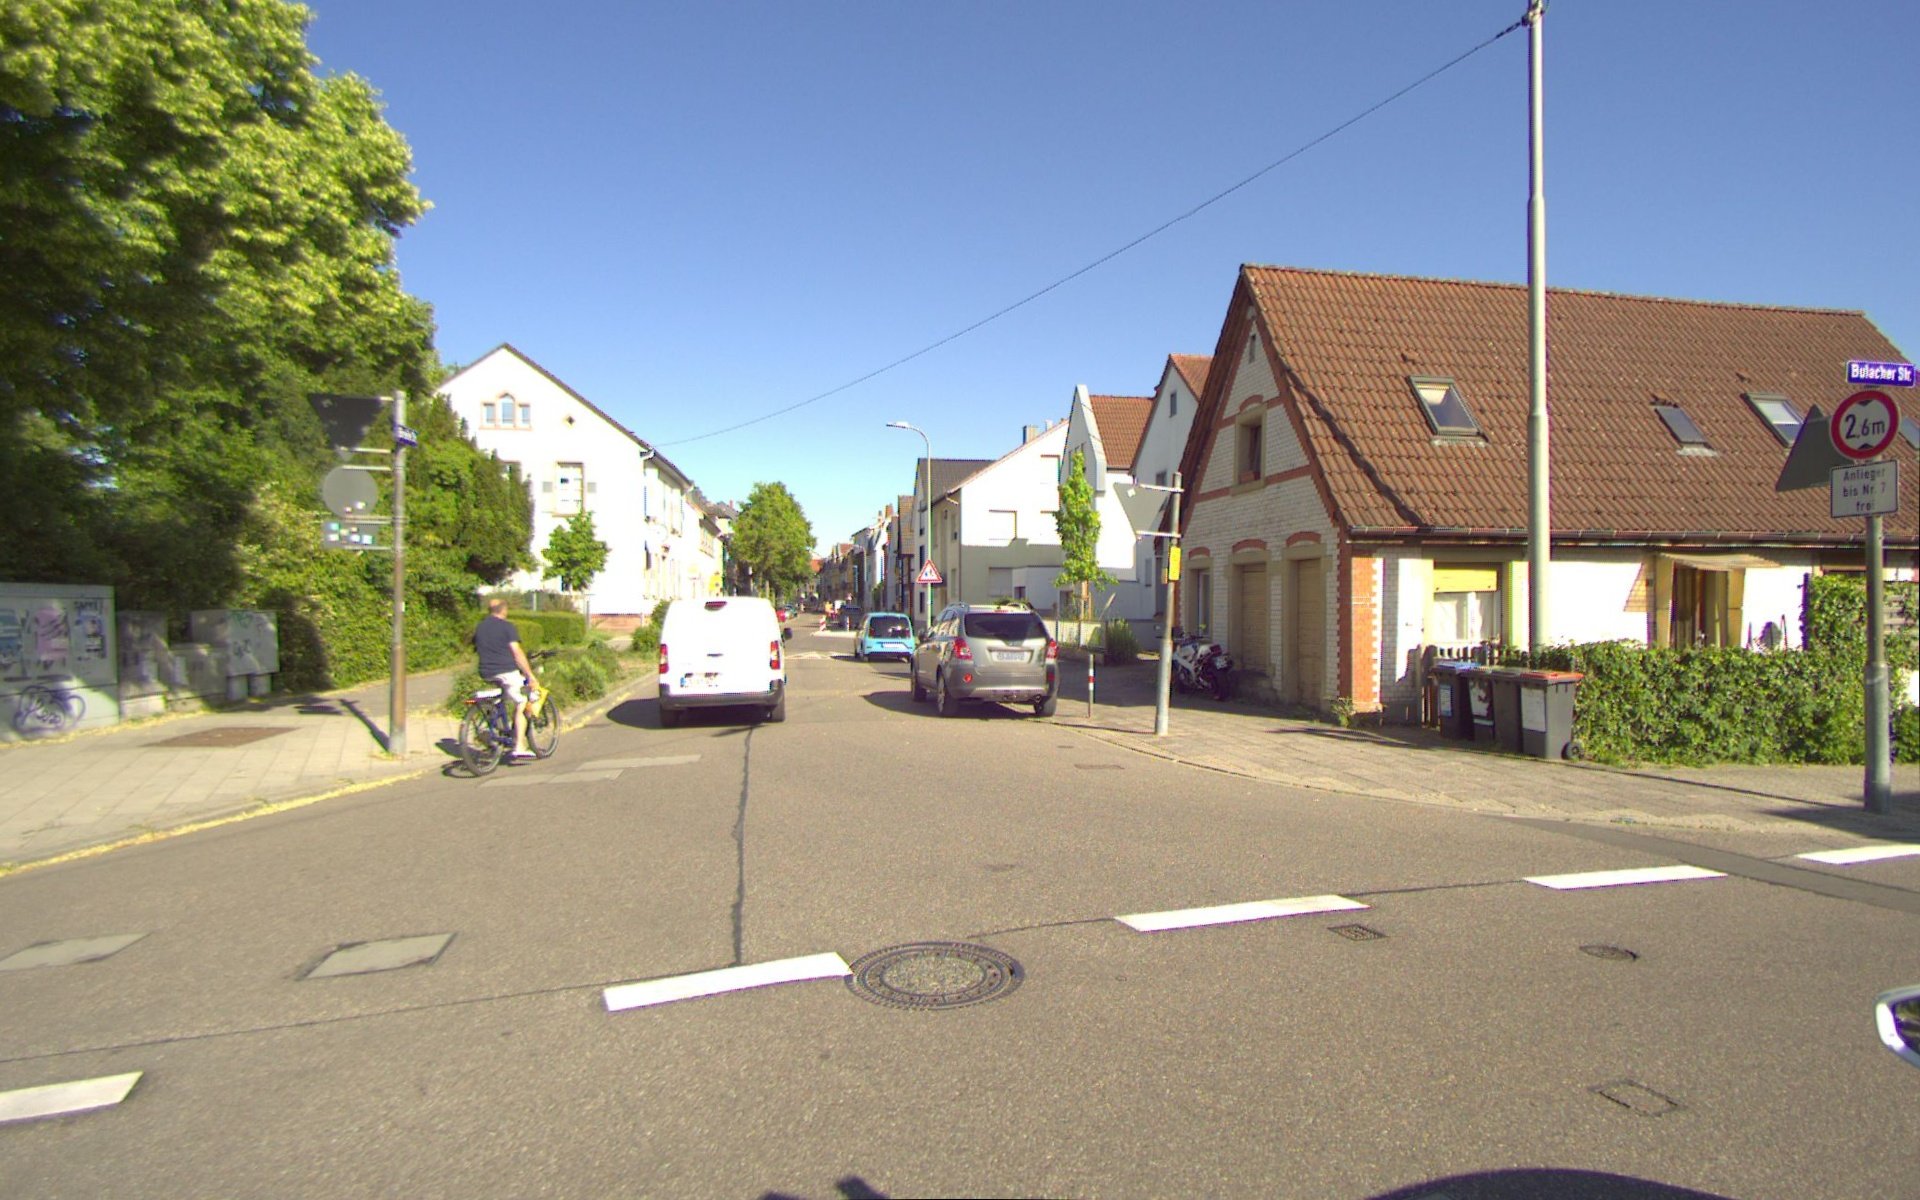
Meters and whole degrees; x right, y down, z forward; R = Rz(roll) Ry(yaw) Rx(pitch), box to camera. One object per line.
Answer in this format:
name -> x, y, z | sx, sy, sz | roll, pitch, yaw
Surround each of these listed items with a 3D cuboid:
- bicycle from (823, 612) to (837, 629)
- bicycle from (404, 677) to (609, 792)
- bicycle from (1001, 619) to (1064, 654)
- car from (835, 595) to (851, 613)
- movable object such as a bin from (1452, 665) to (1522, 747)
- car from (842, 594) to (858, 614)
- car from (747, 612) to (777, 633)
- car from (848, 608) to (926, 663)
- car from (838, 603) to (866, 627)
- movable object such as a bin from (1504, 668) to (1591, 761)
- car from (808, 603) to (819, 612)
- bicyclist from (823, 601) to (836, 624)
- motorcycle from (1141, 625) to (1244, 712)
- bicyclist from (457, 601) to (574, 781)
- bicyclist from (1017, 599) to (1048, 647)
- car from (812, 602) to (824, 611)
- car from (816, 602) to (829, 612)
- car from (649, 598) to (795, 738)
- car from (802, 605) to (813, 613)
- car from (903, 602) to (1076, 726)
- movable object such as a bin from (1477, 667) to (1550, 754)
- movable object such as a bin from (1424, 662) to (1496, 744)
bicycle -> -10.720, 1.670, 82.821 | 1.049, 1.328, 3.008 | 1, -1, -6
bicycle -> -4.673, 1.356, 10.587 | 0.761, 0.952, 2.292 | -4, -2, 11
bicycle -> 2.759, 1.378, 38.486 | 2.258, 1.292, 0.899 | 0, 0, -13
car -> -16.581, 0.581, 142.256 | 1.964, 2.508, 4.720 | 0, 0, -10
movable object such as a bin -> 6.253, 1.251, 11.923 | 0.614, 0.918, 0.413 | 0, 0, -12
car -> -16.497, 0.596, 150.717 | 1.790, 2.939, 4.649 | 0, 0, -15
car -> -14.677, 1.672, 74.737 | 1.963, 1.483, 3.995 | 0, 0, -8
car -> -2.398, 1.081, 31.871 | 1.911, 1.570, 4.224 | 0, 0, -12
car -> -7.949, 1.083, 74.164 | 1.962, 1.731, 4.177 | 0, 0, -6
movable object such as a bin -> 6.418, 1.240, 10.986 | 0.614, 0.937, 0.556 | 0, 0, -12
car -> -28.834, 1.521, 197.562 | 1.790, 1.678, 4.120 | 0, 0, -15
bicyclist -> -10.748, 0.992, 82.761 | 1.049, 1.864, 1.210 | 1, 0, -6
motorcycle -> 3.945, 1.130, 17.267 | 0.867, 1.312, 2.245 | -3, 0, -10
bicyclist -> -4.673, 0.939, 10.608 | 0.751, 1.812, 0.853 | -2, -2, 11
bicyclist -> 2.778, 0.862, 38.483 | 0.980, 1.799, 0.899 | 0, 0, -13
car -> -26.846, 1.216, 189.994 | 1.790, 1.678, 4.120 | 0, 0, -15
car -> -24.710, 1.219, 180.798 | 1.790, 1.678, 4.120 | 0, 0, -15
car -> -3.678, 0.930, 15.992 | 1.929, 1.873, 4.551 | -1, 0, -11
car -> -31.244, 1.859, 205.369 | 1.790, 1.678, 4.120 | 0, 0, -15
car -> 0.329, 0.929, 16.656 | 1.911, 1.748, 4.224 | 0, 0, -12
movable object such as a bin -> 6.333, 1.251, 11.496 | 0.614, 0.937, 0.411 | 0, 0, -12
movable object such as a bin -> 6.155, 1.257, 12.379 | 0.614, 0.937, 0.508 | 0, 0, -12
